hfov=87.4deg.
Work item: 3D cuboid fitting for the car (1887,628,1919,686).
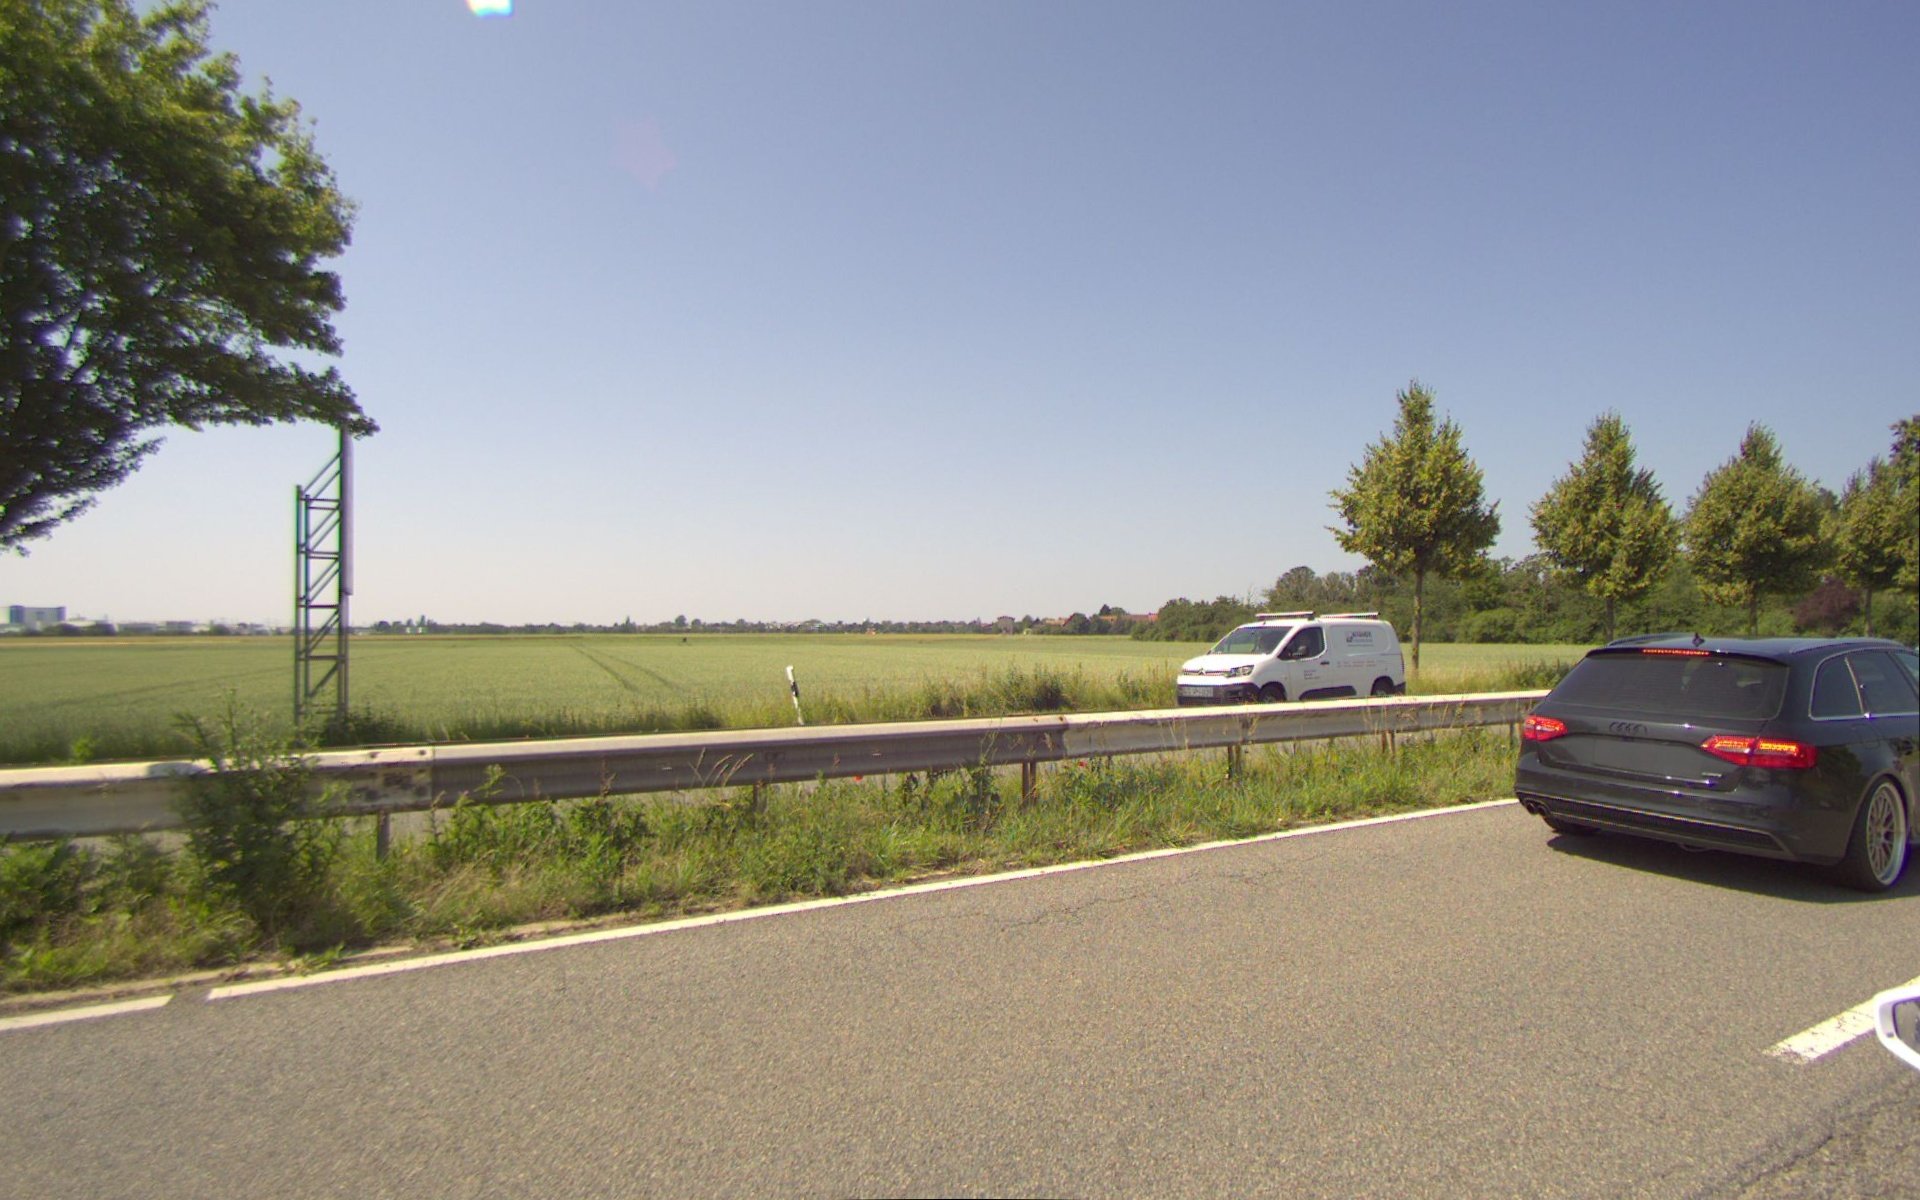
[{"bbox_3d":[26.412,1.482,26.376,4.453,1.473,1.870,1,-2,-31],"label":"car"}]

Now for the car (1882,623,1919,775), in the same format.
[{"bbox_3d":[11.450,1.003,10.425,3.983,1.484,1.709,1,0,-31],"label":"car"}]

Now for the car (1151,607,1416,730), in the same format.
[{"bbox_3d":[5.949,1.166,18.312,4.775,1.977,1.984,1,-2,-31],"label":"car"}]

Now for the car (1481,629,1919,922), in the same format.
[{"bbox_3d":[5.687,0.923,6.832,4.403,1.399,1.732,1,0,-30],"label":"car"}]
